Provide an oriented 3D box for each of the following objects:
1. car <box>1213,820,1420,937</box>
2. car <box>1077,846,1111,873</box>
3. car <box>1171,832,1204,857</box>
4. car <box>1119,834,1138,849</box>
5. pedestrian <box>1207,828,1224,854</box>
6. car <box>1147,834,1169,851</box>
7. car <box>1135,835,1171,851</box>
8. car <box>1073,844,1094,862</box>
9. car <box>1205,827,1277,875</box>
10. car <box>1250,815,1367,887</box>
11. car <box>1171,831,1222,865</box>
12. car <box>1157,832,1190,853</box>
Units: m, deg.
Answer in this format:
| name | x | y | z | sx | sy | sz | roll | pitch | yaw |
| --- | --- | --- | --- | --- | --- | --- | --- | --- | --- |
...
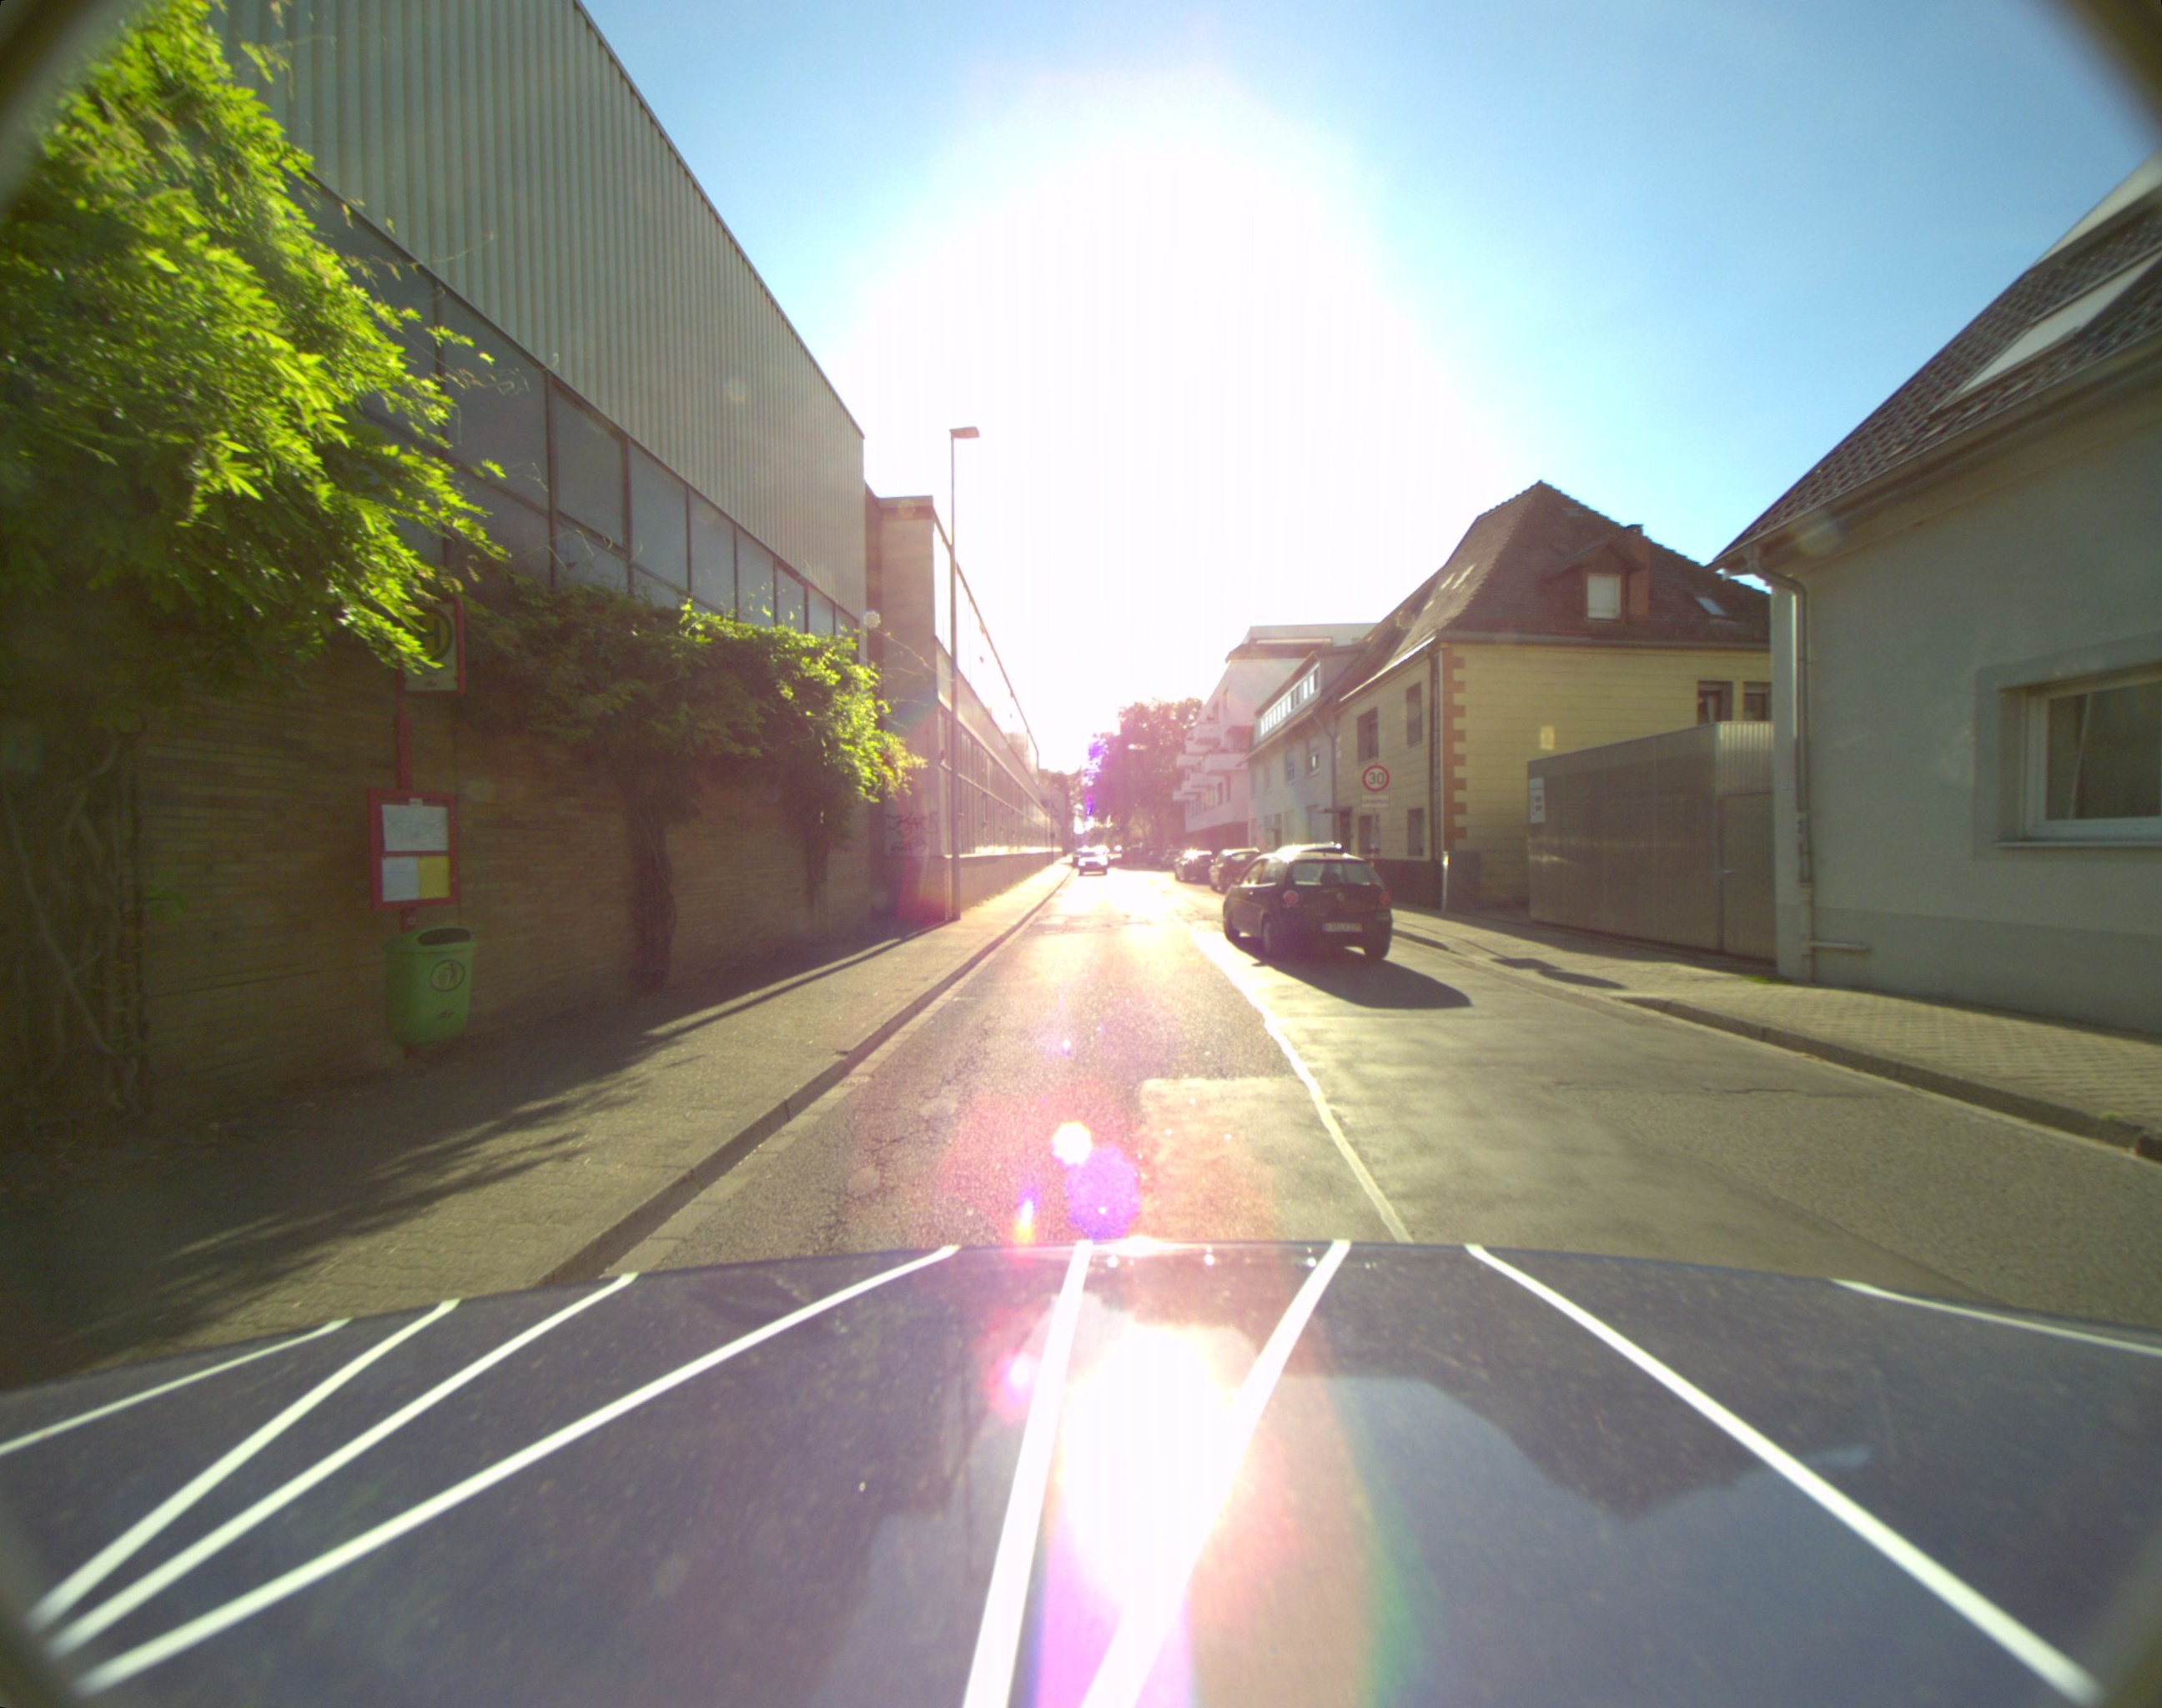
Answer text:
| name | x | y | z | sx | sy | sz | roll | pitch | yaw |
| --- | --- | --- | --- | --- | --- | --- | --- | --- | --- |
| car | 3.340 | 0.255 | 11.699 | 1.847 | 1.483 | 4.142 | 0 | 2 | -1 |
| car | 0.809 | 0.311 | 48.596 | 1.854 | 1.527 | 3.855 | -4 | 2 | -2 |
| car | 7.258 | -0.666 | 52.223 | 1.672 | 1.527 | 3.856 | -4 | 2 | 0 |
| car | 4.946 | -1.343 | 79.059 | 1.846 | 1.482 | 4.144 | 1 | 1 | 3 |
| pedestrian | 9.931 | -0.940 | 56.120 | 0.862 | 1.808 | 1.133 | -5 | 1 | 25 |
| car | 7.377 | -1.121 | 73.038 | 1.679 | 1.425 | 3.769 | -4 | 2 | 0 |
| car | 8.755 | -1.334 | 92.205 | 3.965 | 1.653 | 1.696 | -4 | 2 | -27 |
| car | 0.239 | -0.133 | 74.266 | 1.812 | 1.578 | 4.403 | -4 | 2 | -1 |
| car | 5.982 | -0.129 | 28.832 | 1.862 | 1.578 | 4.336 | -4 | 0 | 2 |
| car | 5.825 | -0.055 | 20.005 | 1.813 | 1.577 | 4.193 | -4 | 0 | 1 |
| car | 5.855 | -0.333 | 38.858 | 1.689 | 1.527 | 4.332 | -4 | 2 | -2 |
| car | 7.422 | -0.959 | 61.474 | 1.863 | 1.578 | 4.619 | -4 | 2 | -2 |
